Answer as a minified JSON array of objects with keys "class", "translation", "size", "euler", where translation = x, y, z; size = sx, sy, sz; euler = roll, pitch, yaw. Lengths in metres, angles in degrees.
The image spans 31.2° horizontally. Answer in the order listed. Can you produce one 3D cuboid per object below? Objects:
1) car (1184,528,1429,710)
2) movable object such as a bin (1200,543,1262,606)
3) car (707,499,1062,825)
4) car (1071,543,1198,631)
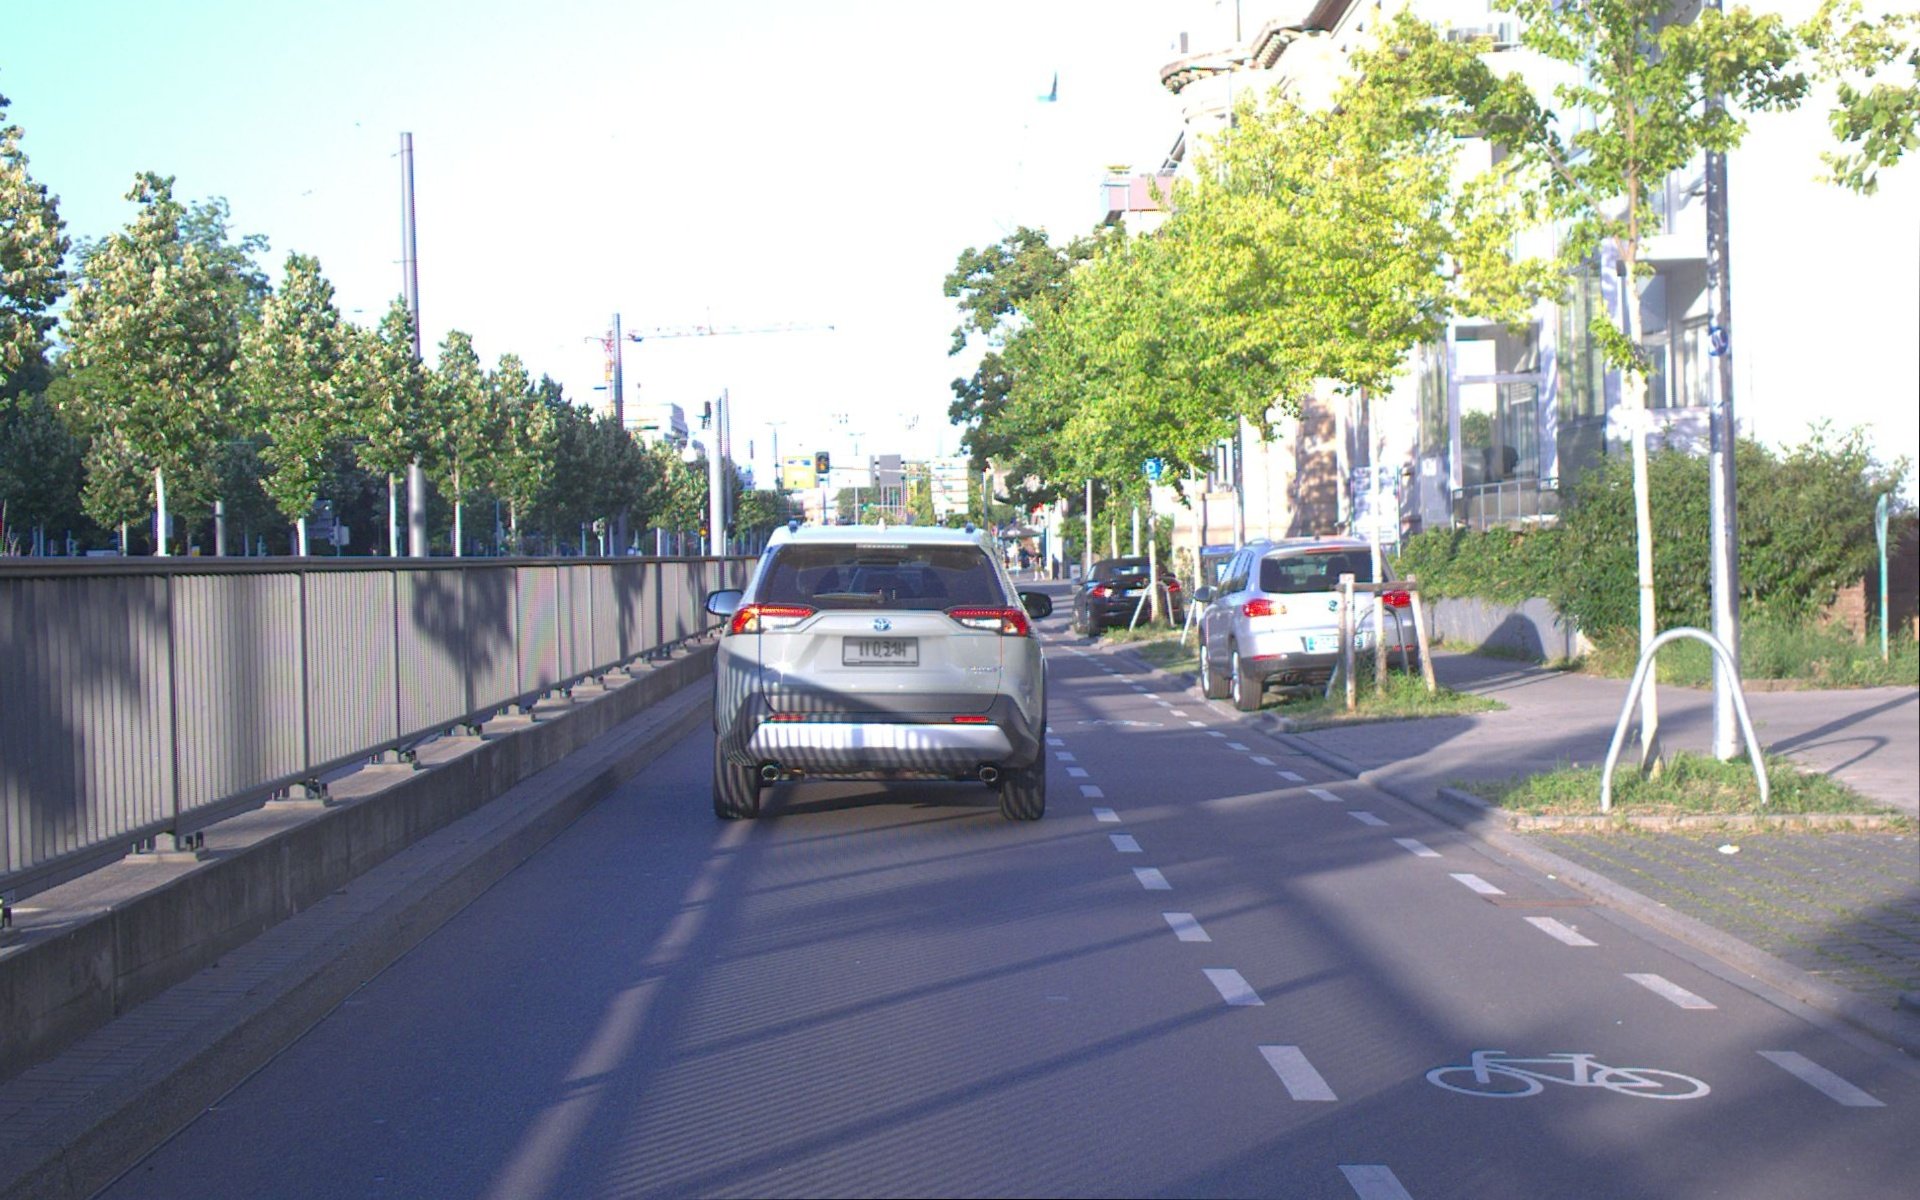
[{"class":"car","translation":[3.455,0.142,34.992],"size":[1.854,1.701,4.255],"euler":[-1,1,-3]},{"class":"movable object such as a bin","translation":[6.317,-0.597,80.184],"size":[1.260,1.457,1.124],"euler":[-1,1,-4]},{"class":"car","translation":[-0.491,0.310,20.322],"size":[1.857,1.708,4.193],"euler":[1,1,-3]},{"class":"car","translation":[3.218,-0.274,64.223],"size":[1.792,1.466,4.446],"euler":[-4,1,-3]}]
